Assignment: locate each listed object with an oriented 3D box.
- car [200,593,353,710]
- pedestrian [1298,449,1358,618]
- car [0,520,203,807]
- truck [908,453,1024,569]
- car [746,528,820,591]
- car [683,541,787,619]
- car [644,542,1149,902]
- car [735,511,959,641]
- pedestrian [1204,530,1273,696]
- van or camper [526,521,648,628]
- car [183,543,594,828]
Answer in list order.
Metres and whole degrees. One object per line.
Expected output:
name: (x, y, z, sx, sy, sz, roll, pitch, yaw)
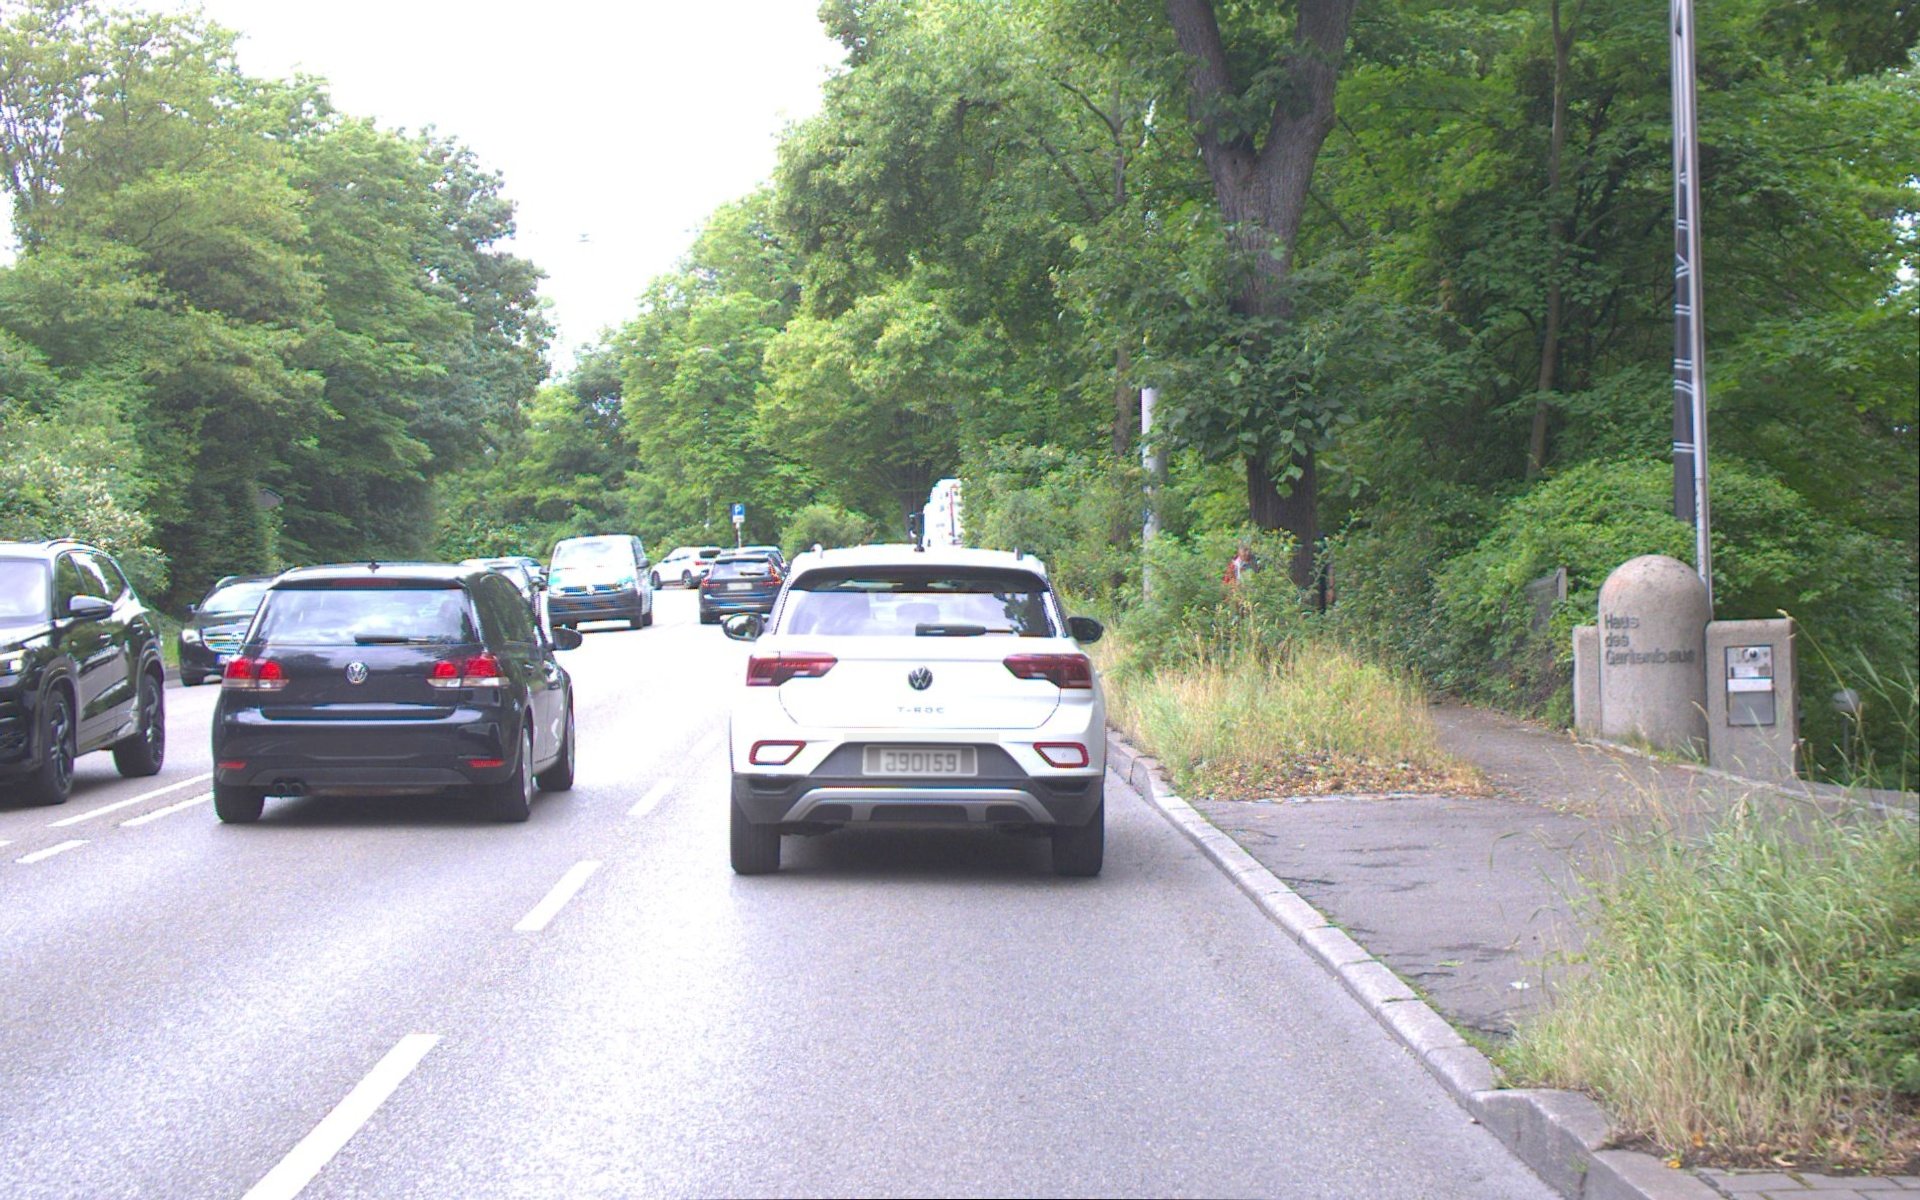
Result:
car: (-9.954, 0.725, 50.305, 1.475, 1.590, 4.000, 1, 1, -1)
pedestrian: (3.846, -0.691, 35.932, 0.519, 1.747, 0.525, 1, 0, -4)
car: (-6.341, 0.363, 22.300, 1.810, 1.656, 4.830, -1, 1, -1)
truck: (0.118, -2.497, 98.829, 2.481, 3.171, 7.230, 1, 1, -6)
car: (-4.678, -1.063, 91.492, 1.821, 1.617, 4.000, 1, 1, -1)
car: (-4.719, -0.431, 72.585, 1.993, 1.586, 4.000, 1, 1, -1)
car: (-0.455, 0.527, 17.328, 2.000, 1.590, 4.001, 1, 1, -9)
car: (-1.670, -0.375, 49.381, 1.851, 1.697, 4.001, -4, 2, -23)
pedestrian: (2.883, 0.130, 35.590, 0.608, 1.692, 0.549, 1, 0, -4)
van or camper: (-7.805, -0.516, 71.456, 1.993, 2.007, 5.370, -4, 1, -11)
car: (-3.289, 0.439, 20.508, 1.949, 1.461, 4.001, 2, 1, -3)
